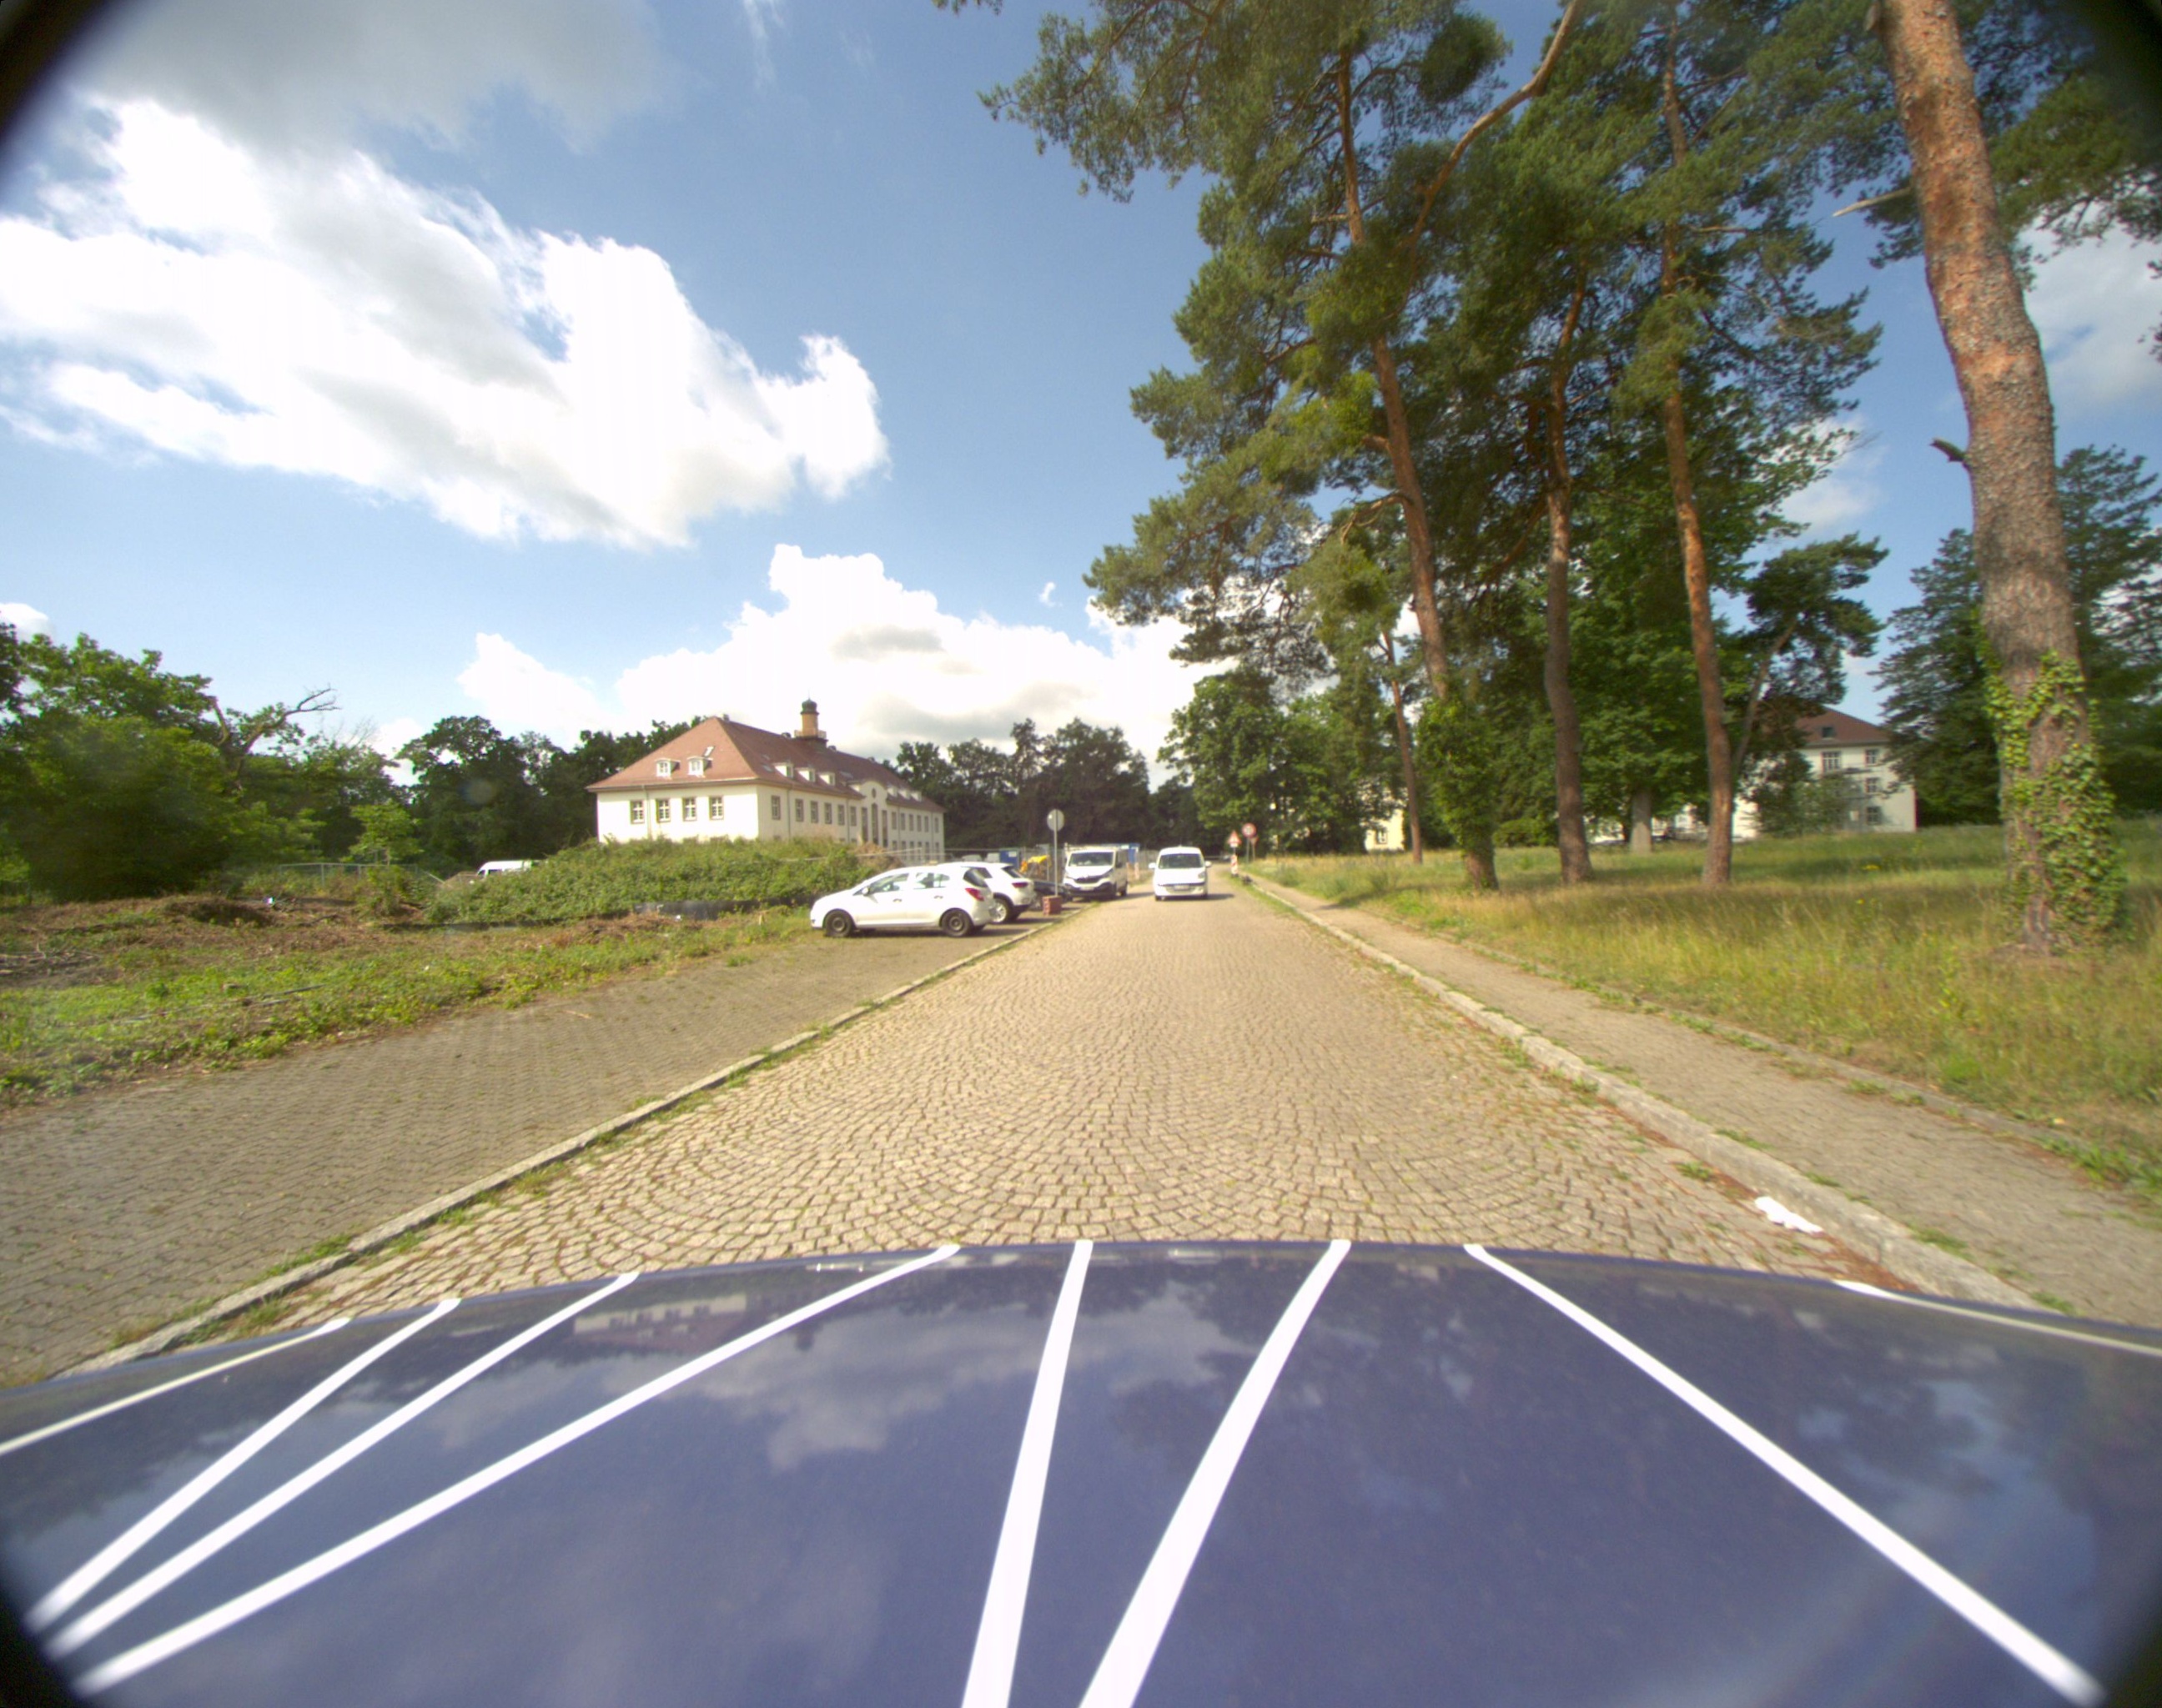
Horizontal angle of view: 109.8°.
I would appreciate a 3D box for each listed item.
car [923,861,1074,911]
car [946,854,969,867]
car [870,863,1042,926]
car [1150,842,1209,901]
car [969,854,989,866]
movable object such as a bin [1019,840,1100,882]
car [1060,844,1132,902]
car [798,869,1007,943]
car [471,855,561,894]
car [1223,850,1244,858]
[{"bbox_3d":[-2.540,0.997,23.952,4.463,1.466,1.746,0,1,5],"label":"car"},{"bbox_3d":[-18.522,0.945,114.131,1.883,1.718,4.711,-2,0,10],"label":"car"},{"bbox_3d":[-3.131,1.012,19.457,3.995,1.498,1.747,0,1,6],"label":"car"},{"bbox_3d":[3.558,0.598,27.058,1.838,1.857,4.834,-2,-1,9],"label":"car"},{"bbox_3d":[-15.217,0.909,113.715,1.801,1.674,4.042,-2,0,10],"label":"car"},{"bbox_3d":[-1.308,0.430,49.045,2.143,2.507,5.668,-1,0,37],"label":"movable object such as a bin"},{"bbox_3d":[0.706,0.657,29.783,1.917,2.041,5.682,-2,0,10],"label":"car"},{"bbox_3d":[-3.790,1.085,16.517,4.050,1.455,1.705,0,1,6],"label":"car"},{"bbox_3d":[-39.830,1.439,53.596,5.427,2.576,2.250,-2,1,17],"label":"car"},{"bbox_3d":[31.094,-0.026,154.989,4.081,1.634,1.768,-2,1,8],"label":"car"}]
